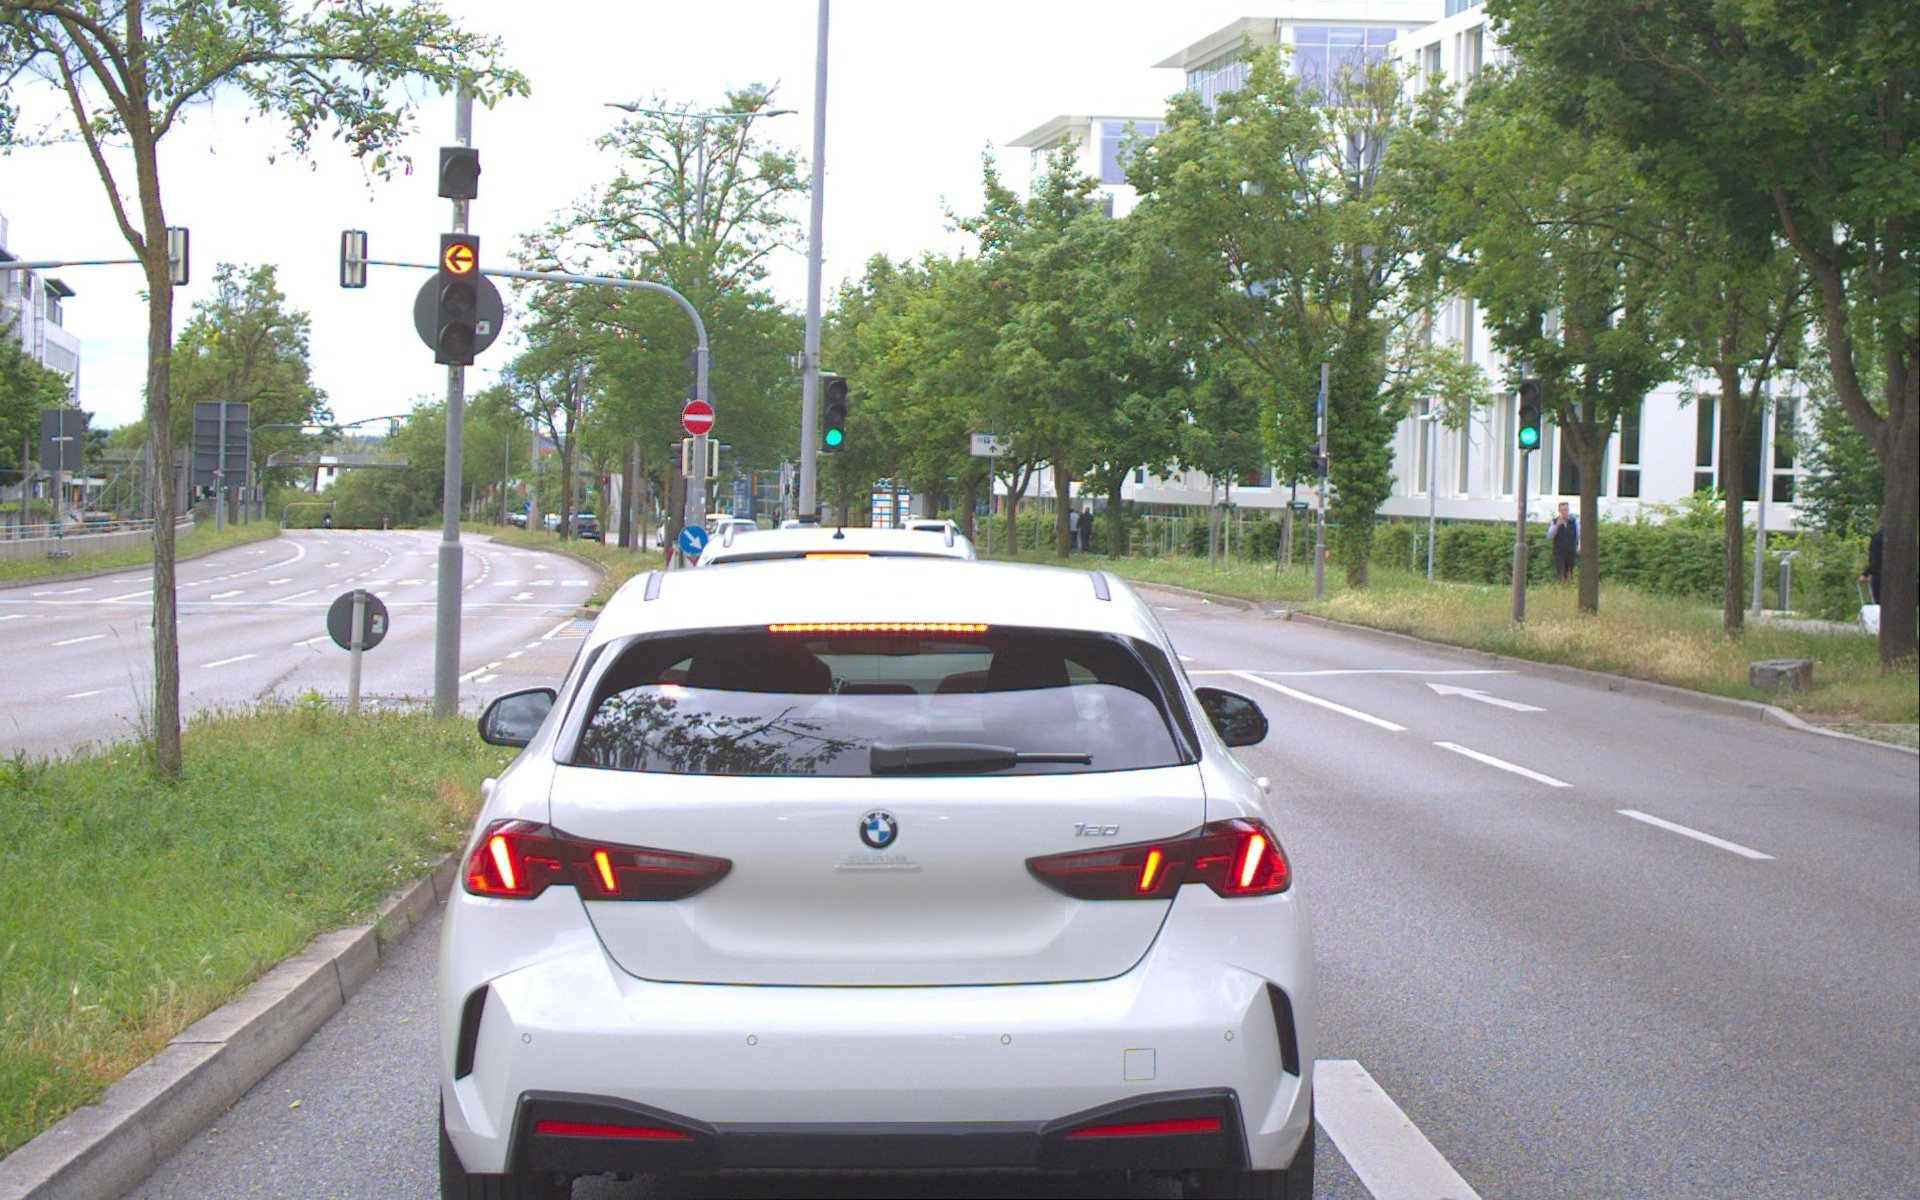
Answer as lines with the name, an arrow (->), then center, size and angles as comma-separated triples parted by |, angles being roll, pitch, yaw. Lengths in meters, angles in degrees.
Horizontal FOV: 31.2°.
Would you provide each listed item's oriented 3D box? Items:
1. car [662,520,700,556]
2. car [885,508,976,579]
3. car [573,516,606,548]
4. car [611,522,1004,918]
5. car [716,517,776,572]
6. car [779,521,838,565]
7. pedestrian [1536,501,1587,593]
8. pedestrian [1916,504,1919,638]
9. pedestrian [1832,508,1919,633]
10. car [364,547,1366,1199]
car -> -13.495, -3.008, 166.401 | 1.738, 1.661, 4.001 | 1, 1, -4
car -> -0.753, -1.389, 84.109 | 1.993, 1.664, 4.001 | 0, 1, -4
car -> -19.940, -3.674, 185.056 | 1.601, 1.661, 4.001 | 1, 1, -4
car -> -0.637, 0.446, 15.862 | 1.549, 1.563, 4.000 | 1, 1, -1
car -> -7.013, -1.825, 112.171 | 1.695, 1.711, 4.001 | 1, 1, -7
car -> -5.335, -2.007, 120.523 | 1.692, 1.481, 3.694 | 1, 1, -8
pedestrian -> 10.442, -0.921, 59.704 | 0.741, 1.568, 0.674 | 1, 0, -1
pedestrian -> 11.757, -0.333, 40.517 | 0.699, 1.590, 0.883 | 1, 0, -1
pedestrian -> 10.863, -0.346, 40.625 | 0.789, 1.443, 1.112 | 1, 0, -1
car -> -0.201, 0.616, 8.343 | 1.822, 1.433, 4.000 | 1, 1, -1
